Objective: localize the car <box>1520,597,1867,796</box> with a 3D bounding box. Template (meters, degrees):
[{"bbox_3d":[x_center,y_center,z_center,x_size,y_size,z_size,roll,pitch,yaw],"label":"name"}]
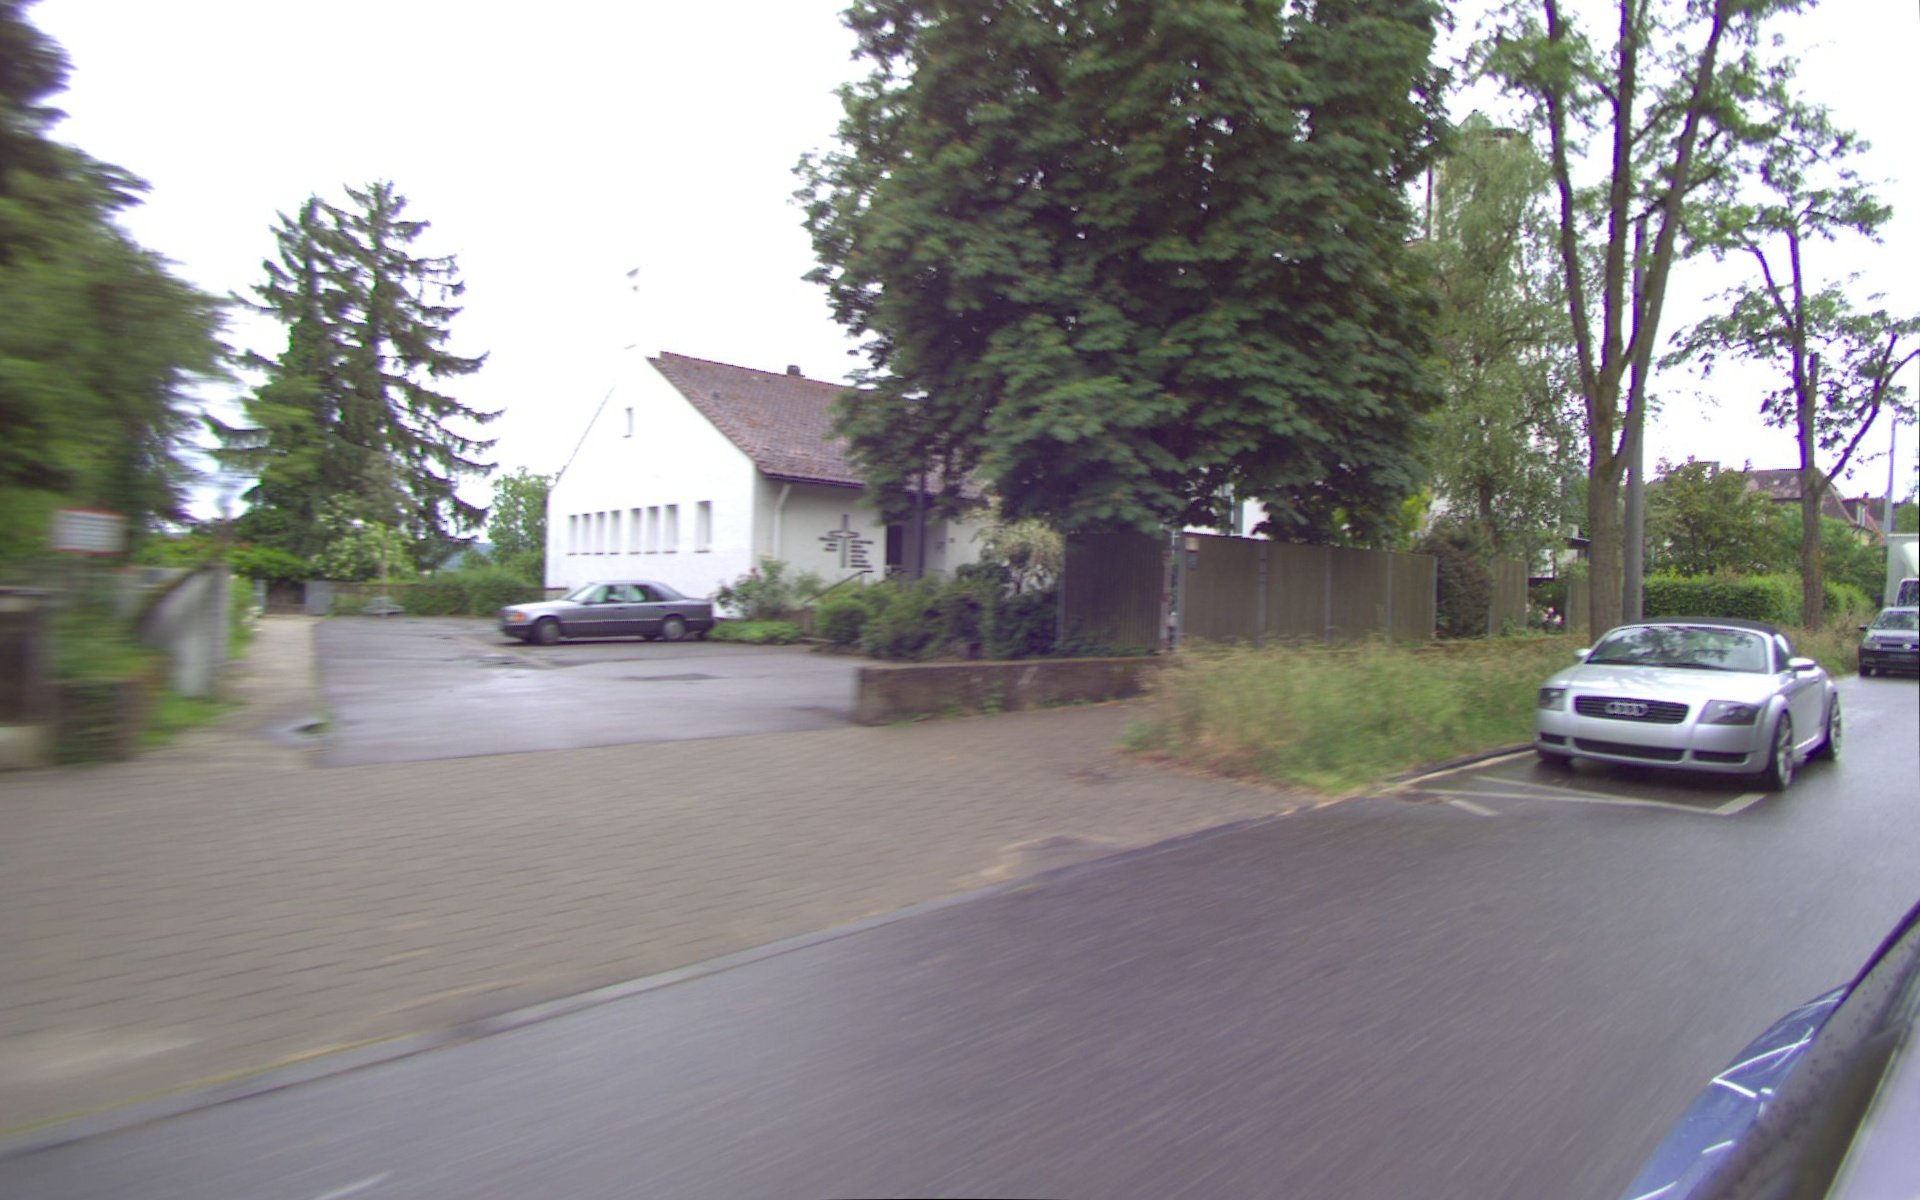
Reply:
[{"bbox_3d":[6.792,0.694,9.216,3.931,1.413,1.784,0,0,-42],"label":"car"}]

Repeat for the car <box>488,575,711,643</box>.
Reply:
[{"bbox_3d":[-7.995,0.196,22.676,4.441,1.393,1.619,0,0,-37],"label":"car"}]

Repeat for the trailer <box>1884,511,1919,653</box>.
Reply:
[{"bbox_3d":[27.464,-0.436,27.408,8.103,3.553,2.738,0,0,-41],"label":"trailer"}]

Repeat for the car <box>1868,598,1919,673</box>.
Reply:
[{"bbox_3d":[20.723,0.718,21.507,3.930,1.482,1.644,0,0,-41],"label":"car"}]
